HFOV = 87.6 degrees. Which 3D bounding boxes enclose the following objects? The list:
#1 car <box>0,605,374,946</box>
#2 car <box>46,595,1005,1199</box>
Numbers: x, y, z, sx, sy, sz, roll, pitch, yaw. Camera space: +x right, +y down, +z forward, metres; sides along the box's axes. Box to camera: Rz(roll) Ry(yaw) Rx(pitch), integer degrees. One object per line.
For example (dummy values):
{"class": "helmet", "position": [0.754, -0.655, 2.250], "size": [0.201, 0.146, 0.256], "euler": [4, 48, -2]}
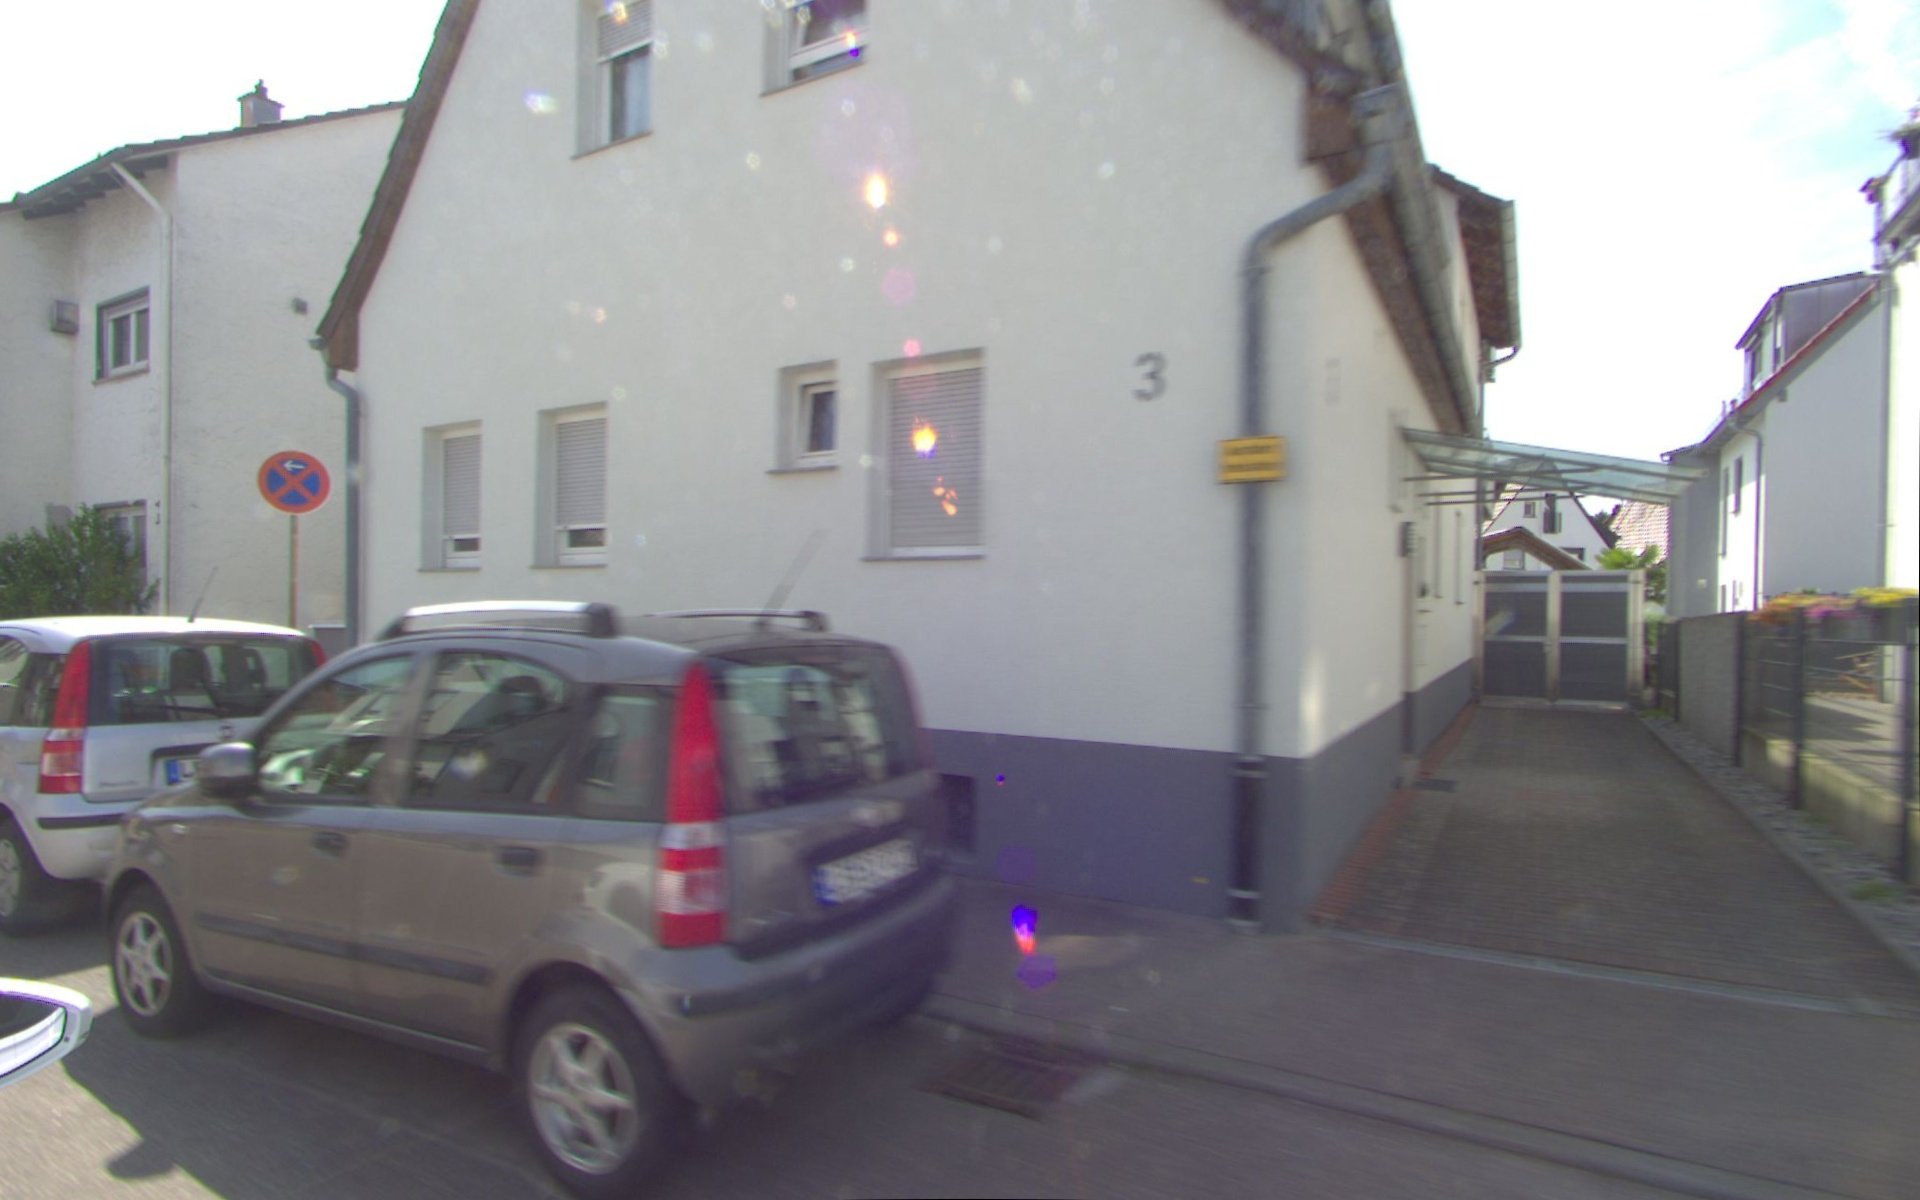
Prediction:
{"class": "car", "position": [-5.220, 0.825, 5.988], "size": [3.311, 1.532, 1.497], "euler": [0, -2, 30]}
{"class": "car", "position": [-1.698, 0.807, 3.795], "size": [3.396, 1.565, 1.567], "euler": [0, -2, 28]}
